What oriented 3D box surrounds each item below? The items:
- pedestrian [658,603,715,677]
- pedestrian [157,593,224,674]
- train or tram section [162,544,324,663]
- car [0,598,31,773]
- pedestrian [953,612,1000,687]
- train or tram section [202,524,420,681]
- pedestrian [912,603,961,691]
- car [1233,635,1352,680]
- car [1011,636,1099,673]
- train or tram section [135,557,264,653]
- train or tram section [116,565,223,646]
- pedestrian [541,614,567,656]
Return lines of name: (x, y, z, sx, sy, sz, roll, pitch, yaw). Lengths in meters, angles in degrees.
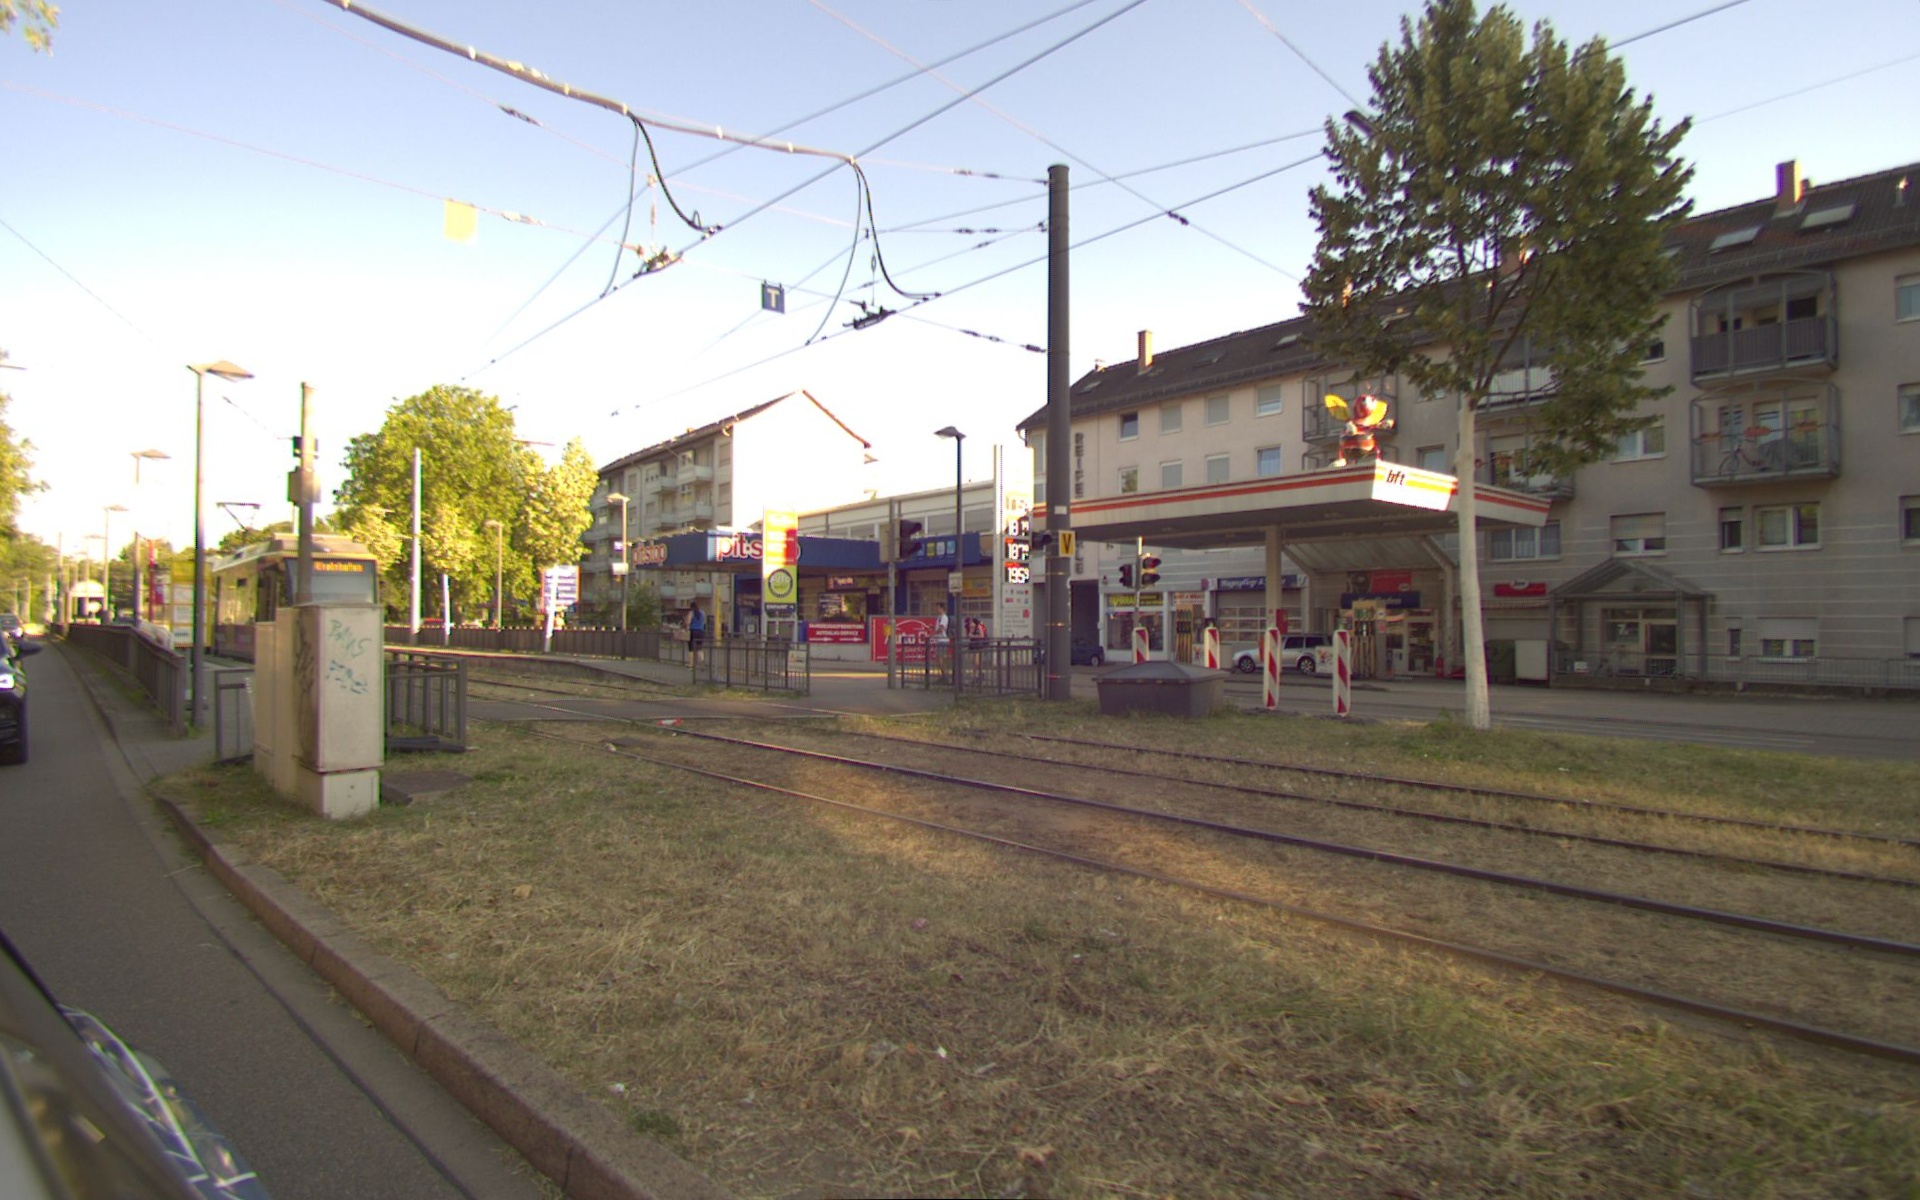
pedestrian: (-6.461, 0.924, 23.920, 0.923, 1.666, 0.927, -2, 0, -43)
pedestrian: (-15.291, 0.653, 20.118, 0.788, 1.562, 0.907, -1, -1, 39)
train or tram section: (-24.821, 0.208, 34.747, 2.999, 3.544, 10.105, 3, -3, -44)
car: (-10.934, 0.851, 10.319, 4.086, 1.628, 1.884, -2, 0, 44)
pedestrian: (0.391, 1.186, 24.320, 0.861, 1.760, 0.744, -1, -2, 44)
train or tram section: (-17.868, 0.149, 27.435, 2.999, 3.544, 10.105, 3, -3, -44)
pedestrian: (-0.533, 1.055, 23.023, 0.756, 1.947, 0.848, -2, -2, 45)
car: (12.222, 2.073, 37.357, 1.789, 1.535, 3.834, 2, -3, -41)
car: (4.233, 2.374, 44.867, 3.747, 1.535, 1.821, 2, -2, -40)
train or tram section: (-31.771, 0.279, 42.071, 2.999, 3.544, 10.105, 3, -3, -44)
train or tram section: (-38.731, 0.341, 49.395, 2.999, 3.544, 10.105, 3, -3, -44)
pedestrian: (-18.838, 1.626, 46.922, 0.744, 1.896, 1.001, -2, 0, -44)
